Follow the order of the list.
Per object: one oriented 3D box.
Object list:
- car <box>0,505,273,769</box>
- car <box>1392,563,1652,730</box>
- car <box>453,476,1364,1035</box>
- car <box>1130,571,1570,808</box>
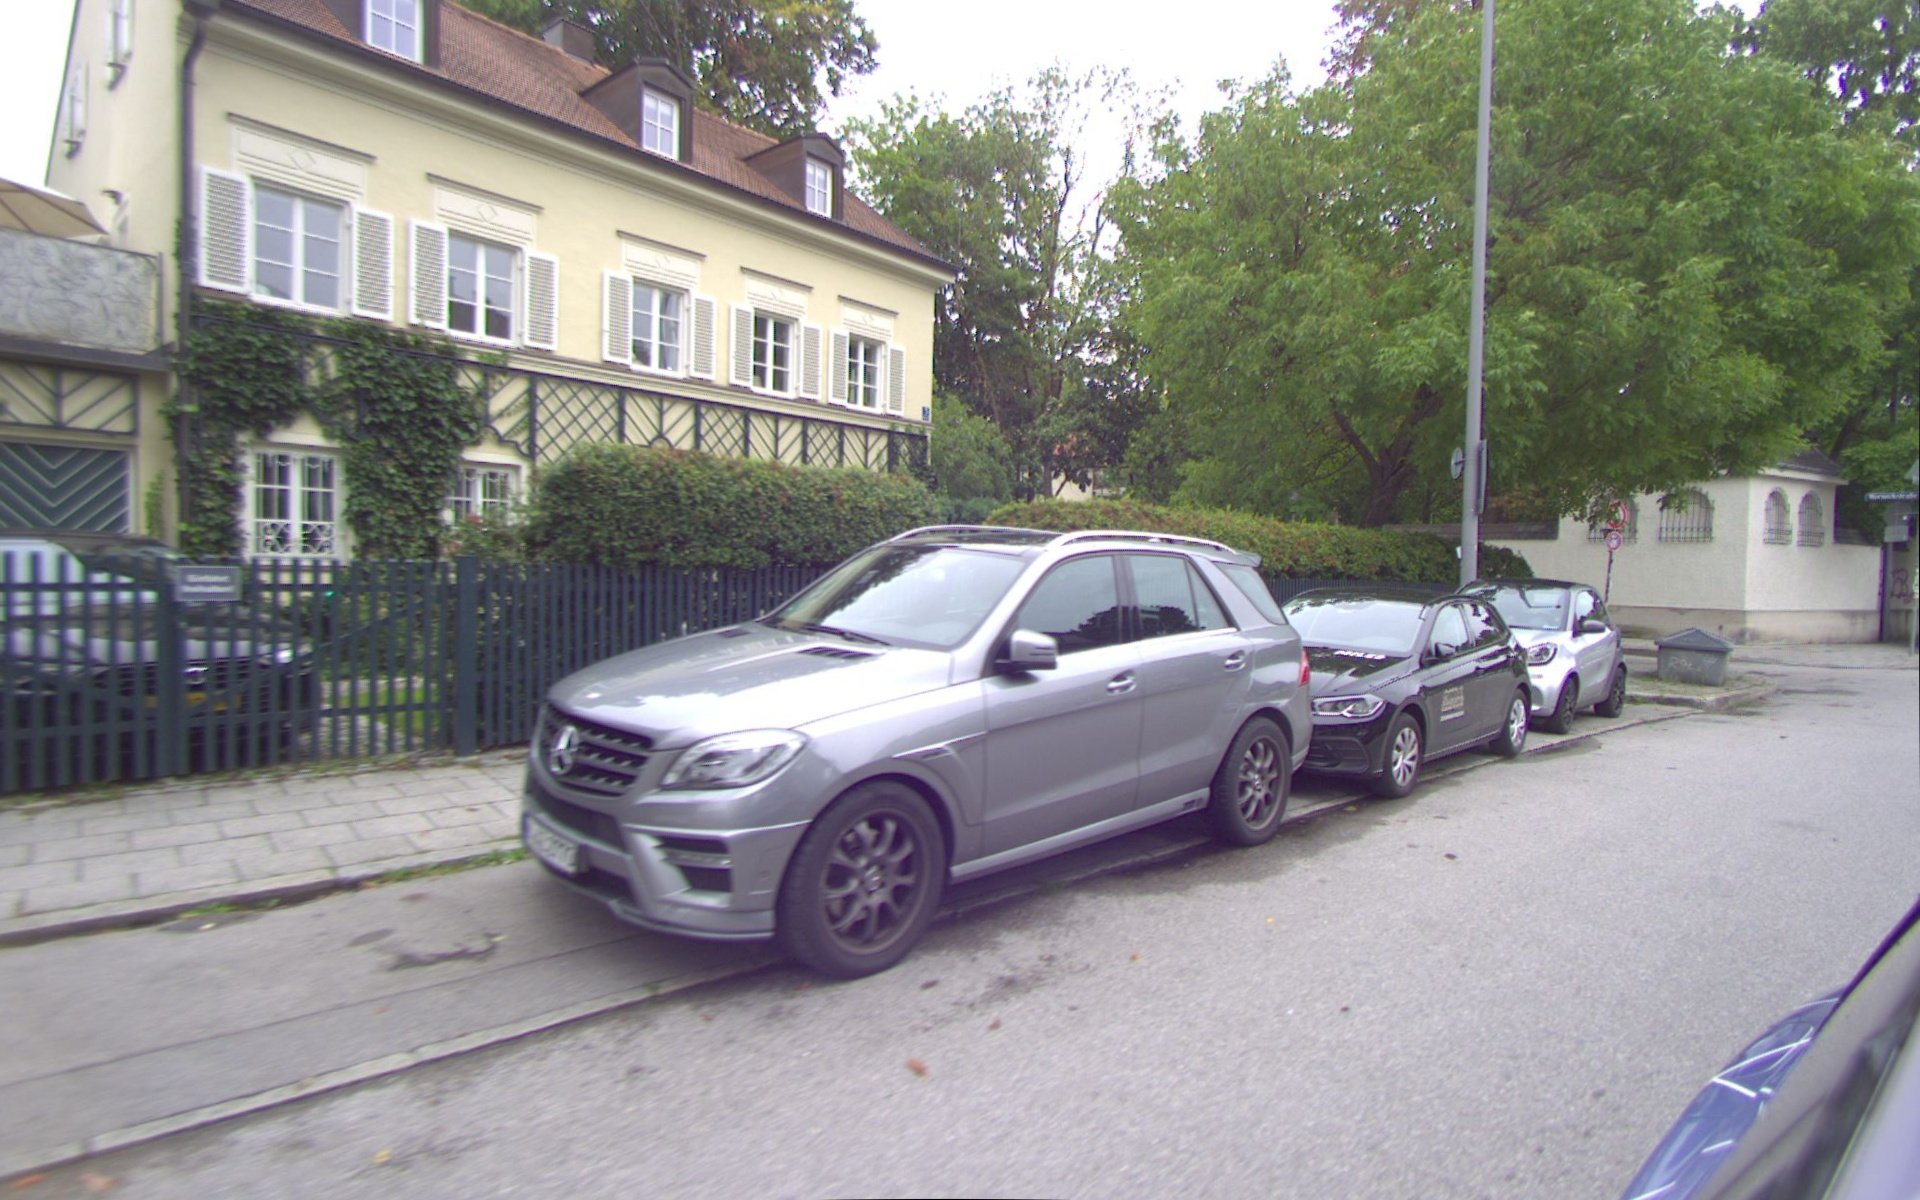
[{"bbox_3d":[-6.627,0.085,7.576,4.075,1.518,1.654,5,4,44],"label":"car"},{"bbox_3d":[6.404,0.404,11.456,2.898,1.554,1.741,-1,5,-44],"label":"car"},{"bbox_3d":[0.132,0.406,5.512,4.804,1.732,1.996,0,4,-44],"label":"car"},{"bbox_3d":[3.481,0.544,8.614,4.152,1.444,1.879,0,4,-44],"label":"car"}]
